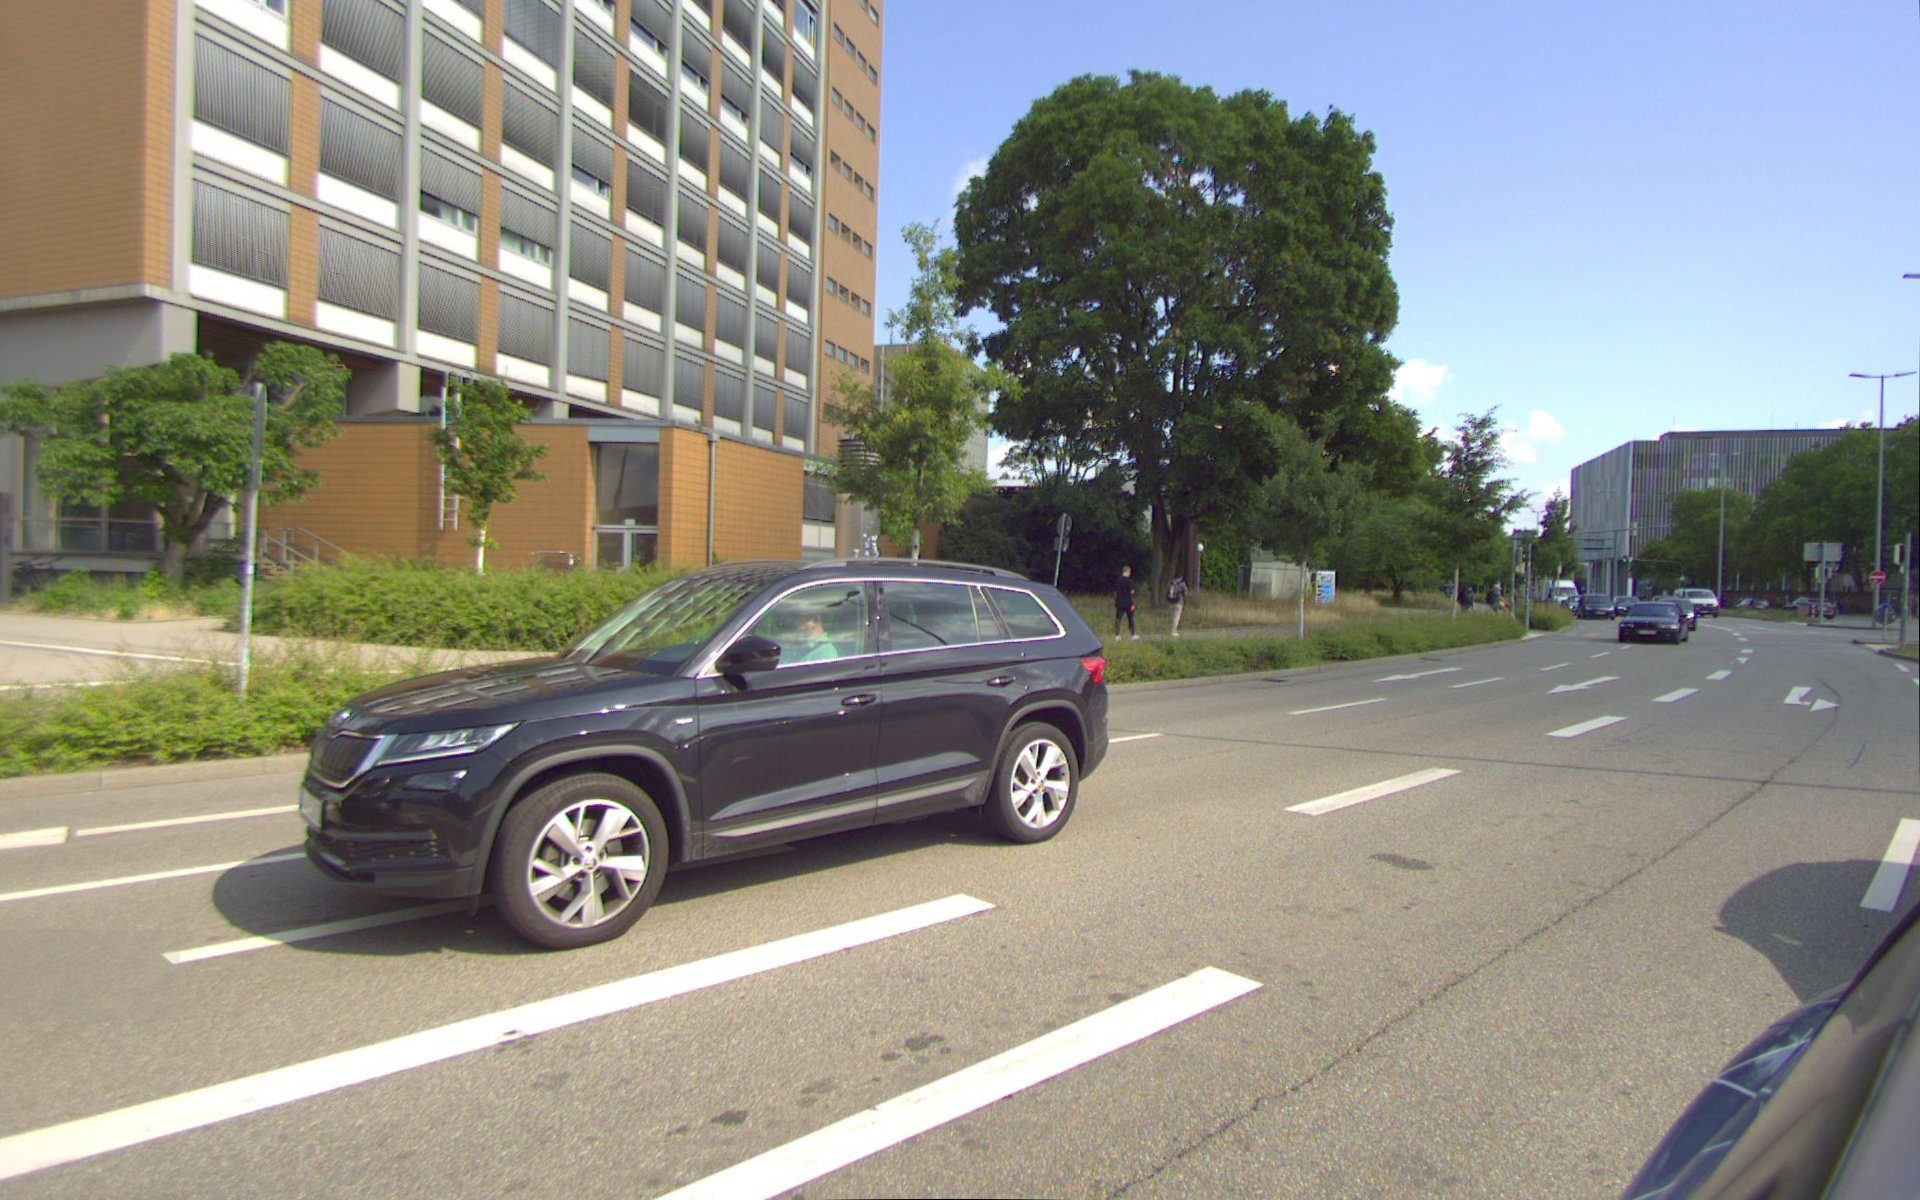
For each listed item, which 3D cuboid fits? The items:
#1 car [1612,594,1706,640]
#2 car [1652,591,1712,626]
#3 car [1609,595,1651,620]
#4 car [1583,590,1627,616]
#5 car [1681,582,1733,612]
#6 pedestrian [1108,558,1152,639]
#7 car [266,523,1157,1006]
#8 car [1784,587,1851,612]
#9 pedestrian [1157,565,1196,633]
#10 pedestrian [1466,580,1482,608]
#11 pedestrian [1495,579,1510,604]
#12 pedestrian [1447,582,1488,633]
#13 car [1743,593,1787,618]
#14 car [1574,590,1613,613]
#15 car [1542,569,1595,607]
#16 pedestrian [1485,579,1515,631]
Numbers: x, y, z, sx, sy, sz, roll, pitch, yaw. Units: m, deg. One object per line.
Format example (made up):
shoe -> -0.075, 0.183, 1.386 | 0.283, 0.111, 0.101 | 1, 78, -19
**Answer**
car -> 23.909, 0.529, 34.552 | 1.993, 1.415, 4.438 | 1, 1, 43
car -> 33.384, 0.365, 46.747 | 1.709, 1.472, 3.937 | 2, 2, 44
car -> 46.163, 0.463, 69.791 | 1.872, 1.638, 3.964 | 0, 0, 26
car -> 40.459, 0.143, 63.533 | 1.982, 1.504, 3.960 | 2, 2, 28
car -> 52.243, -0.211, 70.886 | 1.980, 2.039, 5.029 | 0, 0, 26
pedestrian -> 4.146, -0.051, 24.688 | 0.634, 1.893, 0.760 | 0, 4, -40
car -> -1.086, 0.517, 5.822 | 4.603, 1.689, 1.997 | -1, 2, -42
car -> 59.012, -0.045, 69.735 | 1.972, 1.616, 3.980 | 2, 1, 16
pedestrian -> 5.849, -0.034, 27.353 | 0.634, 1.766, 0.672 | 0, 5, -41
pedestrian -> 38.903, -0.457, 76.611 | 0.980, 2.039, 1.117 | 0, 0, 33
pedestrian -> 44.382, -0.704, 82.828 | 0.980, 2.039, 1.117 | 2, 1, 33
pedestrian -> 20.407, 0.284, 40.708 | 0.966, 2.039, 1.132 | 0, 0, -21
car -> 68.535, 0.453, 86.231 | 1.749, 2.039, 3.592 | 0, 0, 18
car -> 43.752, 0.065, 69.980 | 1.982, 1.504, 3.960 | 2, 2, 28
car -> 49.910, -1.018, 83.159 | 2.456, 2.915, 6.109 | 2, 1, 20
pedestrian -> 21.894, 0.192, 41.047 | 0.980, 2.039, 1.117 | 0, 0, 33
